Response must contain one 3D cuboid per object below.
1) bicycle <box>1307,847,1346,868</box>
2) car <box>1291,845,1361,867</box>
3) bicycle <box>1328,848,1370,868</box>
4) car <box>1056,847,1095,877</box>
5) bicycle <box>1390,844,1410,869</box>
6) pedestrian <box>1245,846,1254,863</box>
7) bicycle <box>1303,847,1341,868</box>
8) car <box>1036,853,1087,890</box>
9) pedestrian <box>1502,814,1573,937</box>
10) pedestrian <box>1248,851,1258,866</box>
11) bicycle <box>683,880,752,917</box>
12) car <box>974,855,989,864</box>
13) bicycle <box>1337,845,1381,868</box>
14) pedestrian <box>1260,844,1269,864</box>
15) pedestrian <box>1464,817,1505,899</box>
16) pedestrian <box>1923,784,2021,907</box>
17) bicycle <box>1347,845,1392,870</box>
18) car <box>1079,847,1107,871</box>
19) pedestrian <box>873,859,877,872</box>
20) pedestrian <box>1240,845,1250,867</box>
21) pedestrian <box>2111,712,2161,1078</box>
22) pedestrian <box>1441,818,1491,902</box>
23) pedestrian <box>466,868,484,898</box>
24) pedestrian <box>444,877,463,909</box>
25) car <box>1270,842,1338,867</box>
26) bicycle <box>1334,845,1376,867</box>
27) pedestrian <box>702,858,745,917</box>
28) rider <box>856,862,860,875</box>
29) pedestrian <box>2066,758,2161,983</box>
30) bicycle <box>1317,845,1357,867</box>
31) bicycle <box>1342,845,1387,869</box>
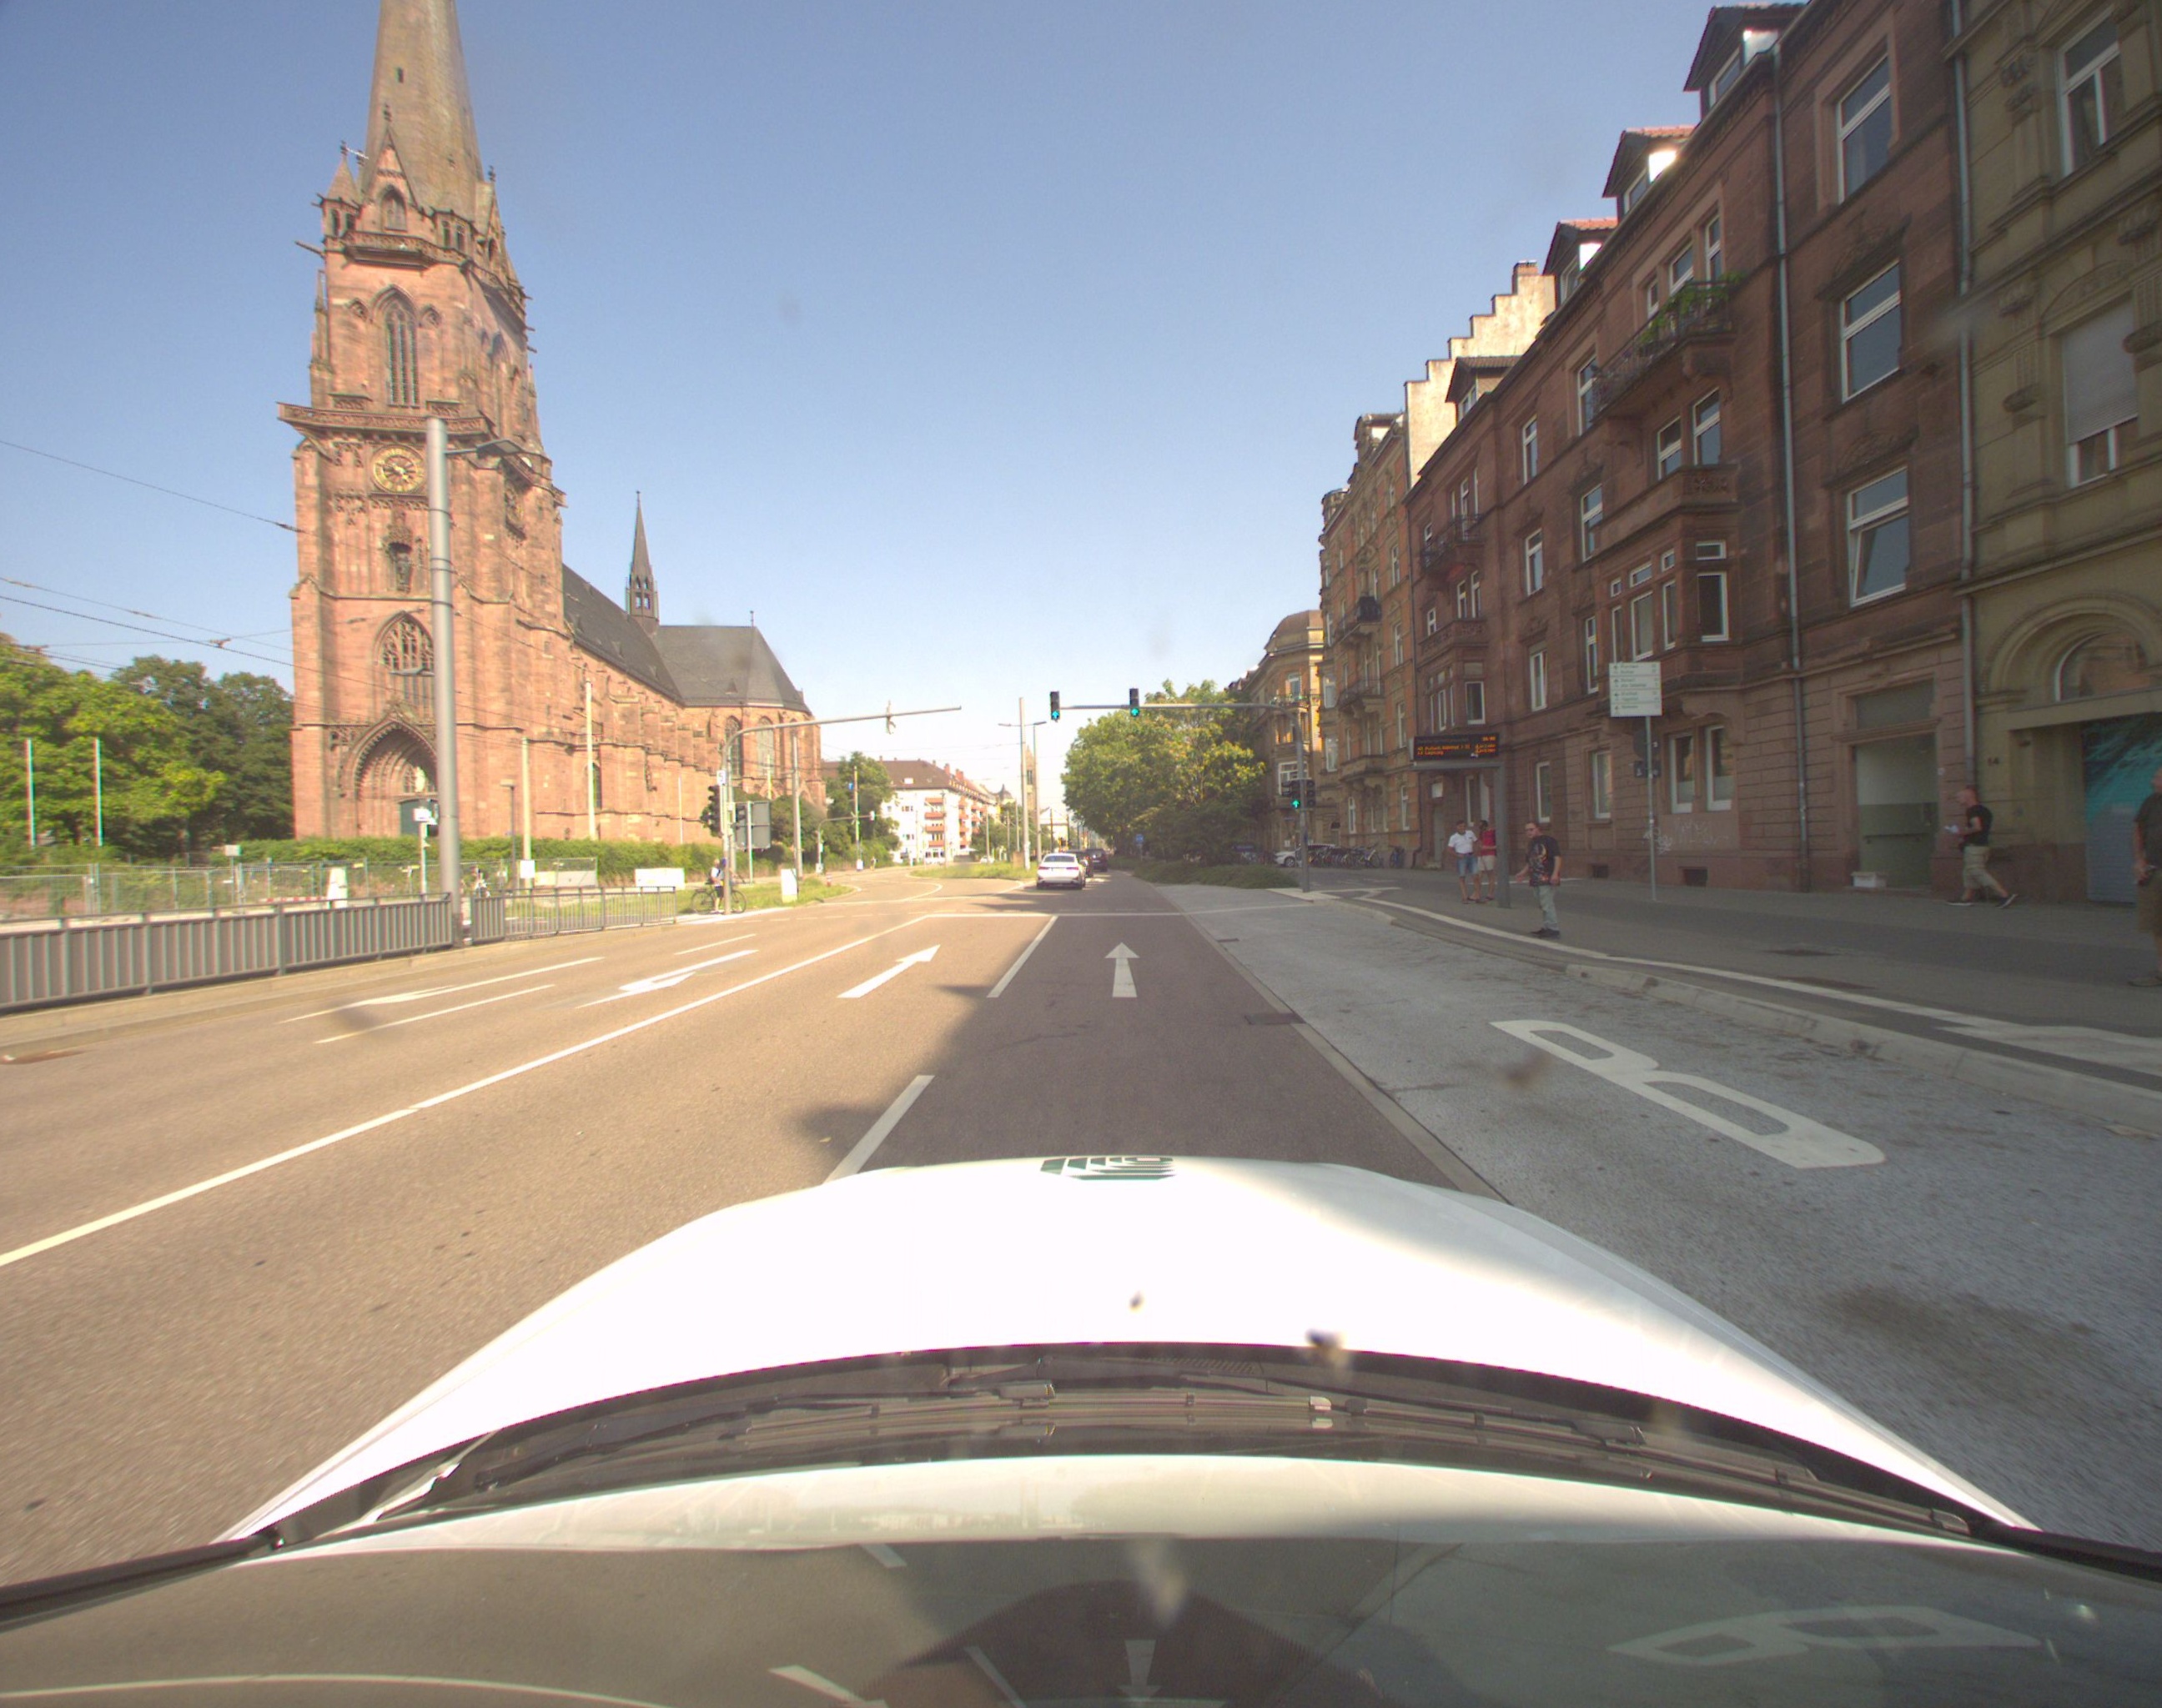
[{"bbox_3d":[13.502,0.181,44.809,1.924,1.048,0.527,-2,0,-4],"label":"bicycle"},{"bbox_3d":[15.589,0.111,51.920,3.926,1.222,1.546,-2,0,-2],"label":"car"},{"bbox_3d":[13.619,0.202,41.421,1.924,0.950,0.499,-2,0,-4],"label":"bicycle"},{"bbox_3d":[-0.271,0.426,47.180,1.985,1.621,4.360,-1,0,3],"label":"car"},{"bbox_3d":[14.175,0.108,36.249,0.414,1.048,1.673,-2,0,8],"label":"bicycle"},{"bbox_3d":[12.698,0.047,61.418,0.595,1.248,0.507,-2,0,1],"label":"pedestrian"},{"bbox_3d":[13.513,0.193,45.647,1.924,1.048,0.527,-2,0,-4],"label":"bicycle"},{"bbox_3d":[-0.748,0.674,33.801,1.802,1.427,4.777,0,0,2],"label":"car"},{"bbox_3d":[6.278,0.286,11.227,0.526,1.612,0.703,-2,0,-1],"label":"pedestrian"},{"bbox_3d":[12.277,0.341,58.010,0.446,1.070,0.482,-2,0,-28],"label":"pedestrian"},{"bbox_3d":[-10.703,1.299,23.992,1.752,0.978,0.479,-2,0,0],"label":"bicycle"},{"bbox_3d":[-17.280,0.992,141.249,1.987,1.500,4.000,-2,0,0],"label":"car"},{"bbox_3d":[13.358,0.119,39.086,1.924,1.048,0.499,-2,0,-4],"label":"bicycle"},{"bbox_3d":[13.363,0.000,59.318,0.442,1.506,0.486,-2,0,-3],"label":"pedestrian"},{"bbox_3d":[8.649,0.086,17.475,0.480,1.702,0.703,-2,0,-1],"label":"pedestrian"},{"bbox_3d":[13.057,-0.121,11.950,0.627,1.719,0.691,-2,0,2],"label":"pedestrian"},{"bbox_3d":[13.328,0.160,37.631,1.924,1.048,0.499,-2,0,-4],"label":"bicycle"},{"bbox_3d":[0.917,0.340,58.355,1.824,1.621,4.360,-1,0,3],"label":"car"},{"bbox_3d":[-25.366,1.442,100.186,0.304,1.518,0.340,-2,0,-2],"label":"pedestrian"},{"bbox_3d":[11.519,0.138,57.252,0.571,1.454,0.731,-2,0,3],"label":"pedestrian"},{"bbox_3d":[5.374,0.187,3.631,0.563,1.729,0.745,-2,0,-1],"label":"pedestrian"},{"bbox_3d":[7.851,0.116,16.643,0.688,1.664,0.620,-2,0,2],"label":"pedestrian"},{"bbox_3d":[-32.867,1.581,44.169,0.542,1.576,0.658,-2,0,-17],"label":"pedestrian"},{"bbox_3d":[-31.864,1.992,41.341,0.490,1.576,0.552,-2,0,1],"label":"pedestrian"},{"bbox_3d":[15.591,0.012,57.024,4.169,1.563,1.998,-2,0,-2],"label":"car"},{"bbox_3d":[13.688,0.096,40.655,1.924,1.048,0.499,-2,0,-4],"label":"bicycle"},{"bbox_3d":[-10.518,0.970,23.957,0.913,1.679,0.602,-2,0,1],"label":"pedestrian"},{"bbox_3d":[-25.076,1.649,91.603,0.305,1.431,0.251,-2,0,11],"label":"rider"},{"bbox_3d":[8.485,0.126,6.447,0.340,1.732,0.805,-2,0,-1],"label":"pedestrian"},{"bbox_3d":[13.425,0.117,42.786,1.924,1.048,0.527,-2,0,-4],"label":"bicycle"},{"bbox_3d":[13.352,0.155,38.378,1.924,1.048,0.499,-2,0,-4],"label":"bicycle"}]
